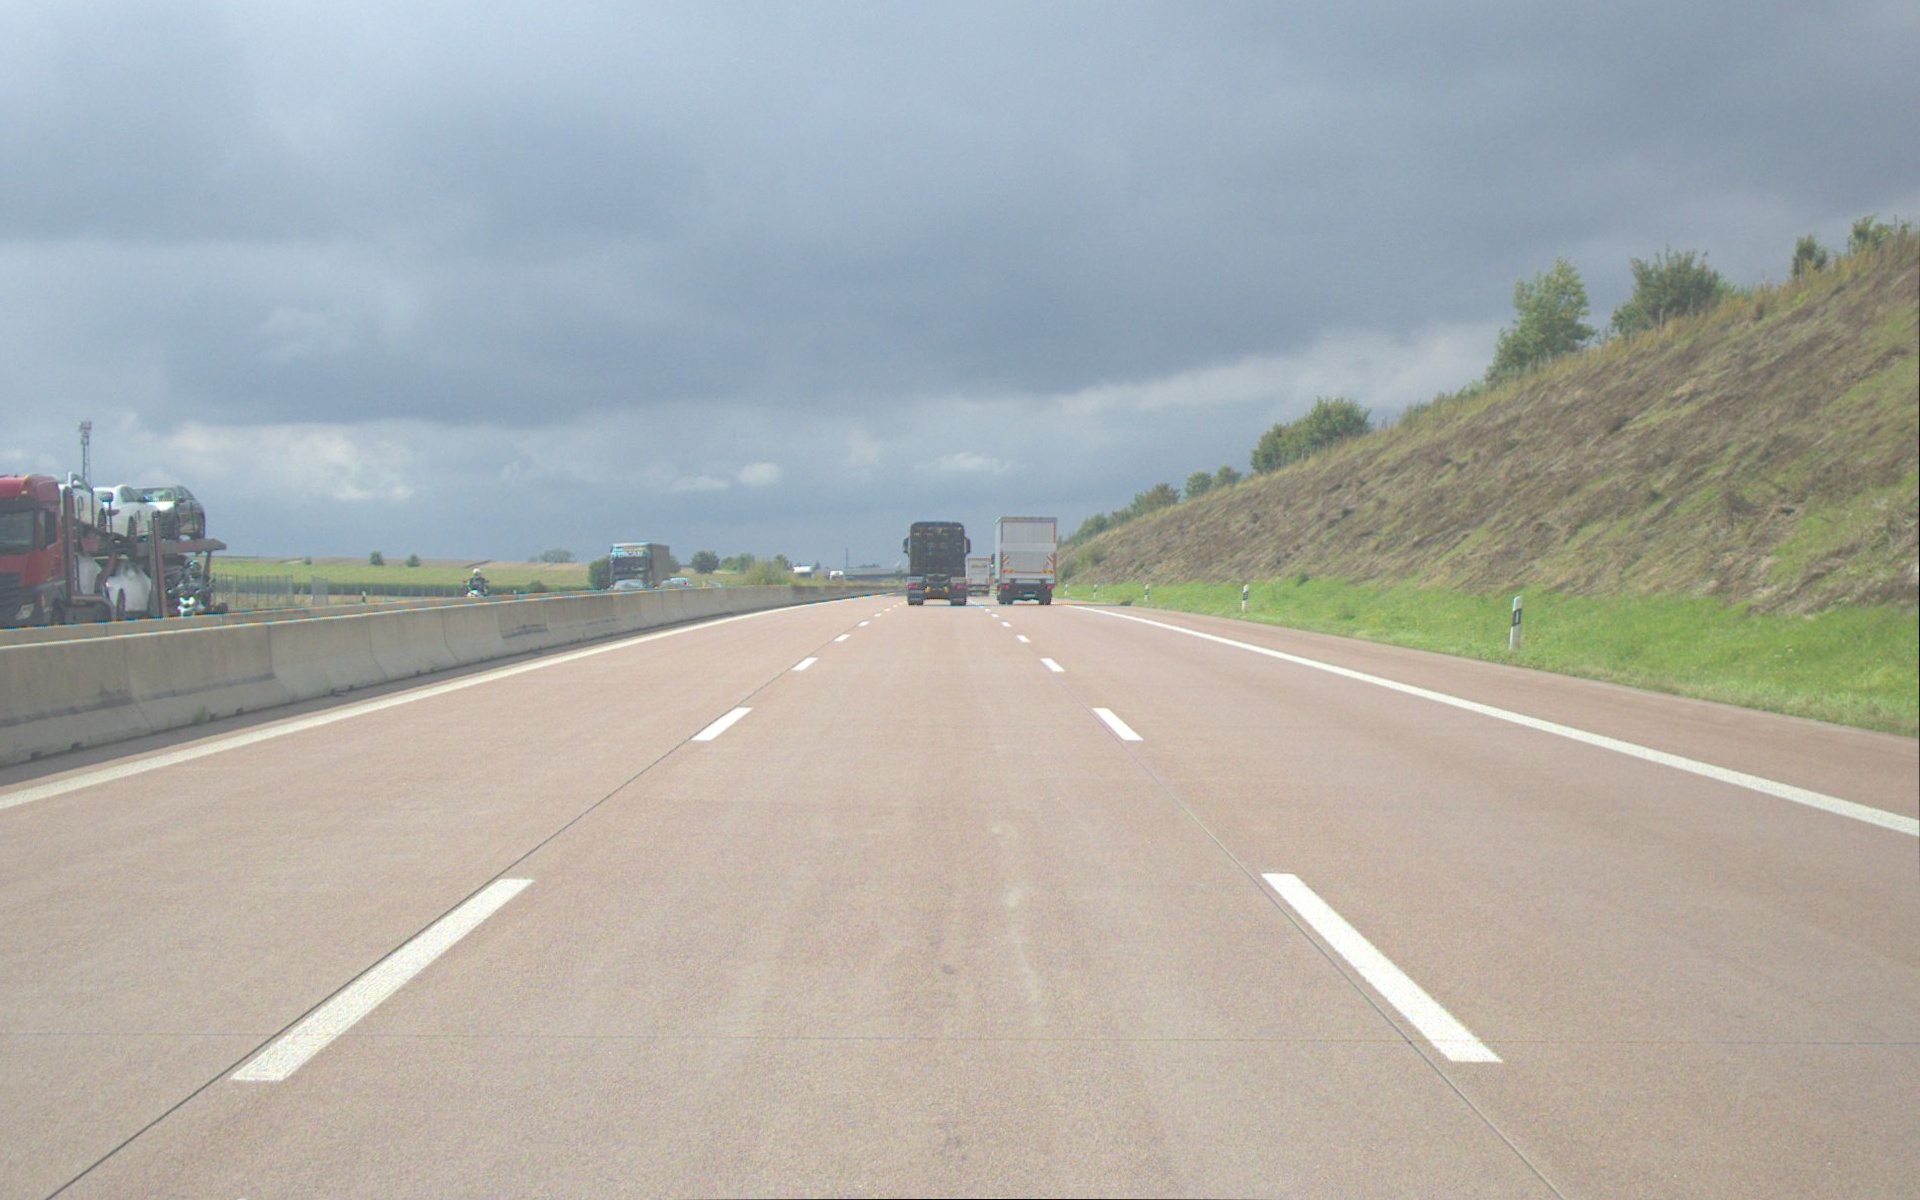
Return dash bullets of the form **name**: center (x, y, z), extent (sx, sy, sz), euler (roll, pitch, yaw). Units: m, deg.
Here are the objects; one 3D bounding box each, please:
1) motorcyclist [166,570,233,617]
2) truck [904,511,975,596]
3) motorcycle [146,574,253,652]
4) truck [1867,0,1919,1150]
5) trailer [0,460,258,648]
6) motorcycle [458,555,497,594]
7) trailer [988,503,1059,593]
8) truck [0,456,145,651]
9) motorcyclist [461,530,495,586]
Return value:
- **motorcyclist**: center (-15.762, -0.134, 71.243), extent (1.185, 0.945, 0.839), euler (1, 1, 0)
- **truck**: center (-0.921, -1.961, 148.465), extent (2.847, 3.537, 8.320), euler (0, 0, -2)
- **motorcycle**: center (-15.714, 0.259, 71.145), extent (1.554, 1.537, 2.841), euler (1, 1, 0)
- **truck**: center (3.775, -0.623, 5.822), extent (2.674, 4.092, 6.616), euler (0, 1, 0)
- **trailer**: center (-19.976, -1.089, 81.201), extent (3.194, 3.964, 16.325), euler (1, 1, 1)
- **motorcycle**: center (-16.225, -0.856, 115.642), extent (0.926, 1.299, 2.342), euler (1, 1, 0)
- **trailer**: center (2.868, -2.326, 158.111), extent (2.747, 3.998, 8.671), euler (0, 0, -2)
- **truck**: center (-20.084, -1.012, 73.798), extent (3.194, 3.964, 7.730), euler (1, 1, 1)
- **motorcyclist**: center (-16.202, -1.397, 115.625), extent (1.009, 1.855, 0.744), euler (1, 0, 2)
